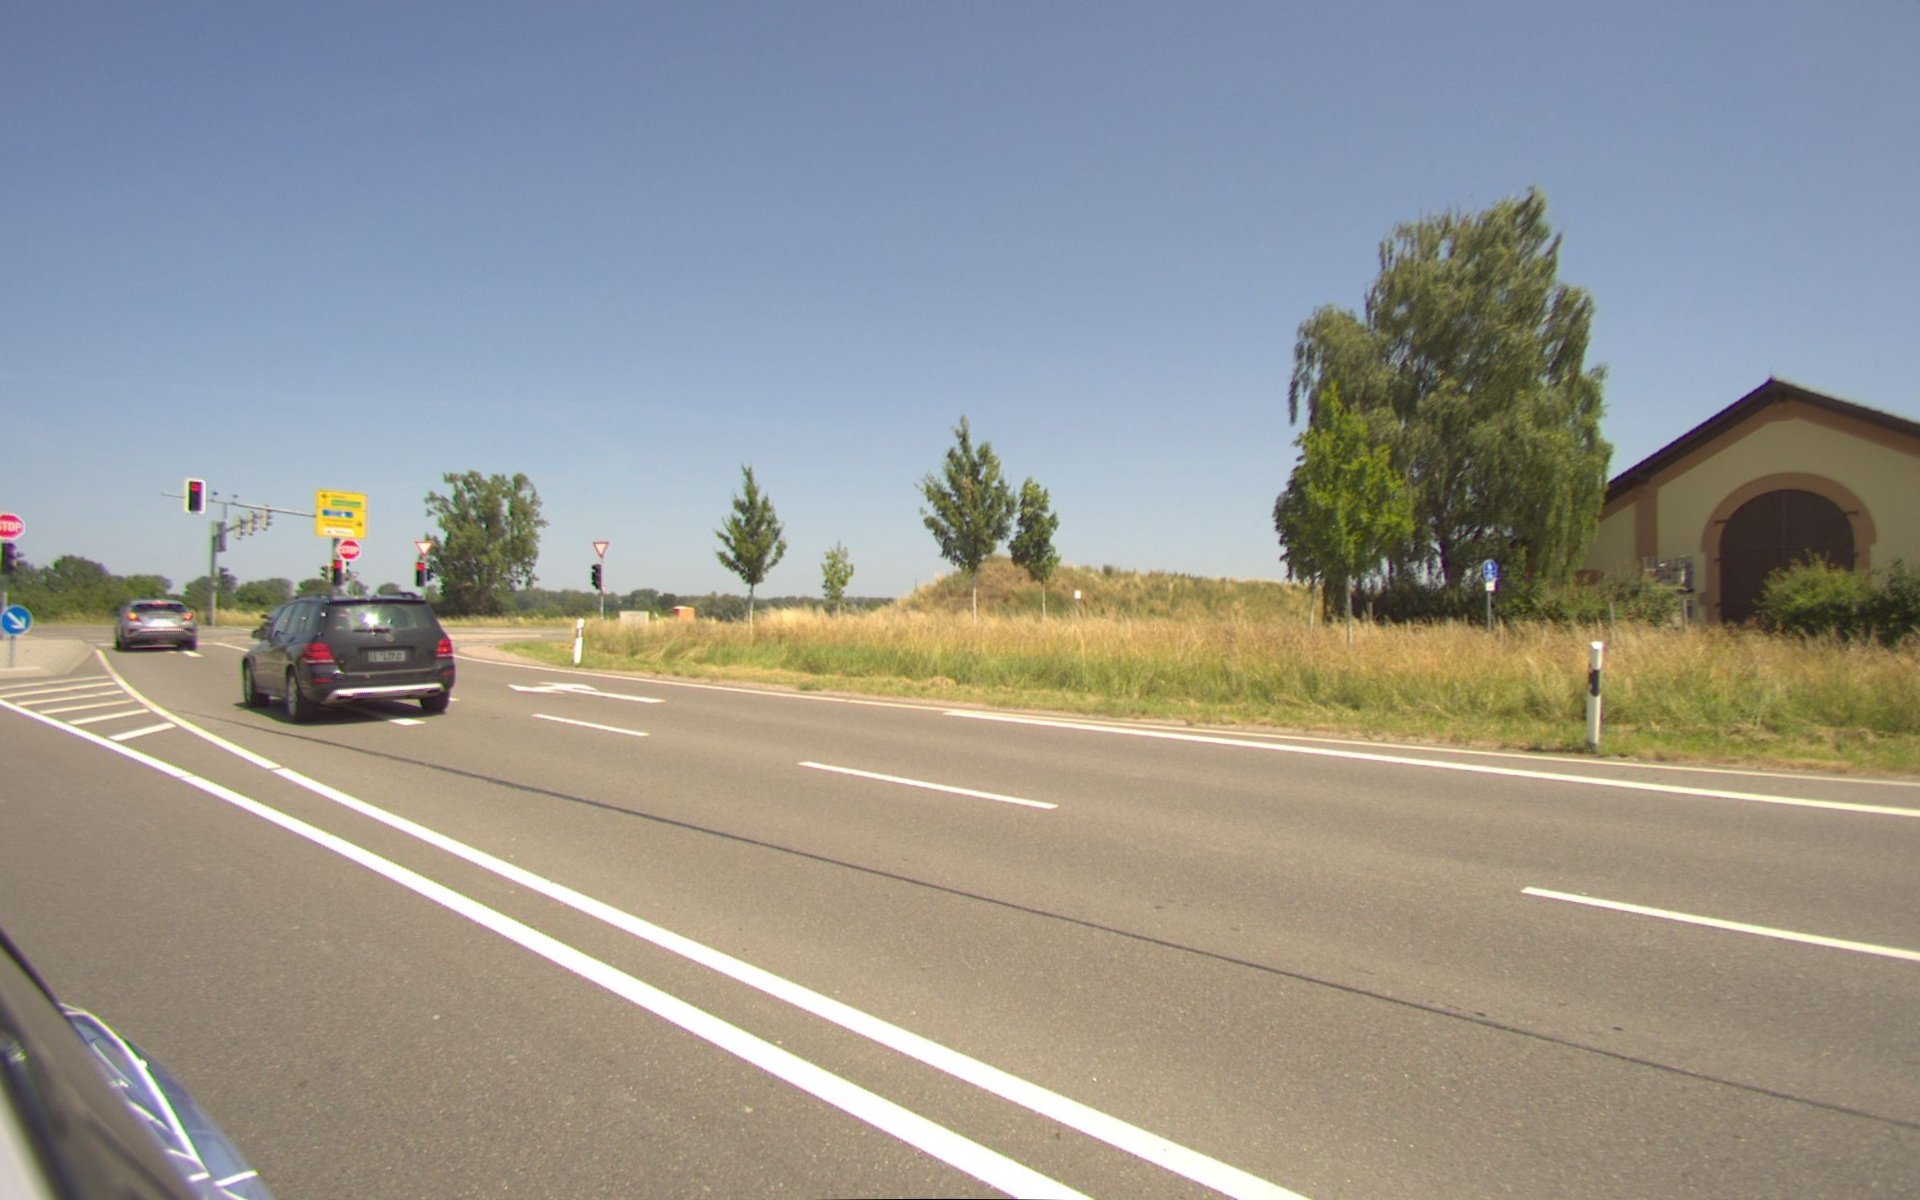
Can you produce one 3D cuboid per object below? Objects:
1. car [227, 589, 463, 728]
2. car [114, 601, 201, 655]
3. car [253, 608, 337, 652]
[{"bbox_3d":[-8.768,0.751,14.269,4.329,1.663,1.844,-2,-2,45],"label":"car"},{"bbox_3d":[-24.810,0.849,31.231,1.843,1.555,4.557,1,-2,-42],"label":"car"},{"bbox_3d":[-22.404,0.998,34.038,1.749,1.379,4.279,1,-2,-42],"label":"car"}]
